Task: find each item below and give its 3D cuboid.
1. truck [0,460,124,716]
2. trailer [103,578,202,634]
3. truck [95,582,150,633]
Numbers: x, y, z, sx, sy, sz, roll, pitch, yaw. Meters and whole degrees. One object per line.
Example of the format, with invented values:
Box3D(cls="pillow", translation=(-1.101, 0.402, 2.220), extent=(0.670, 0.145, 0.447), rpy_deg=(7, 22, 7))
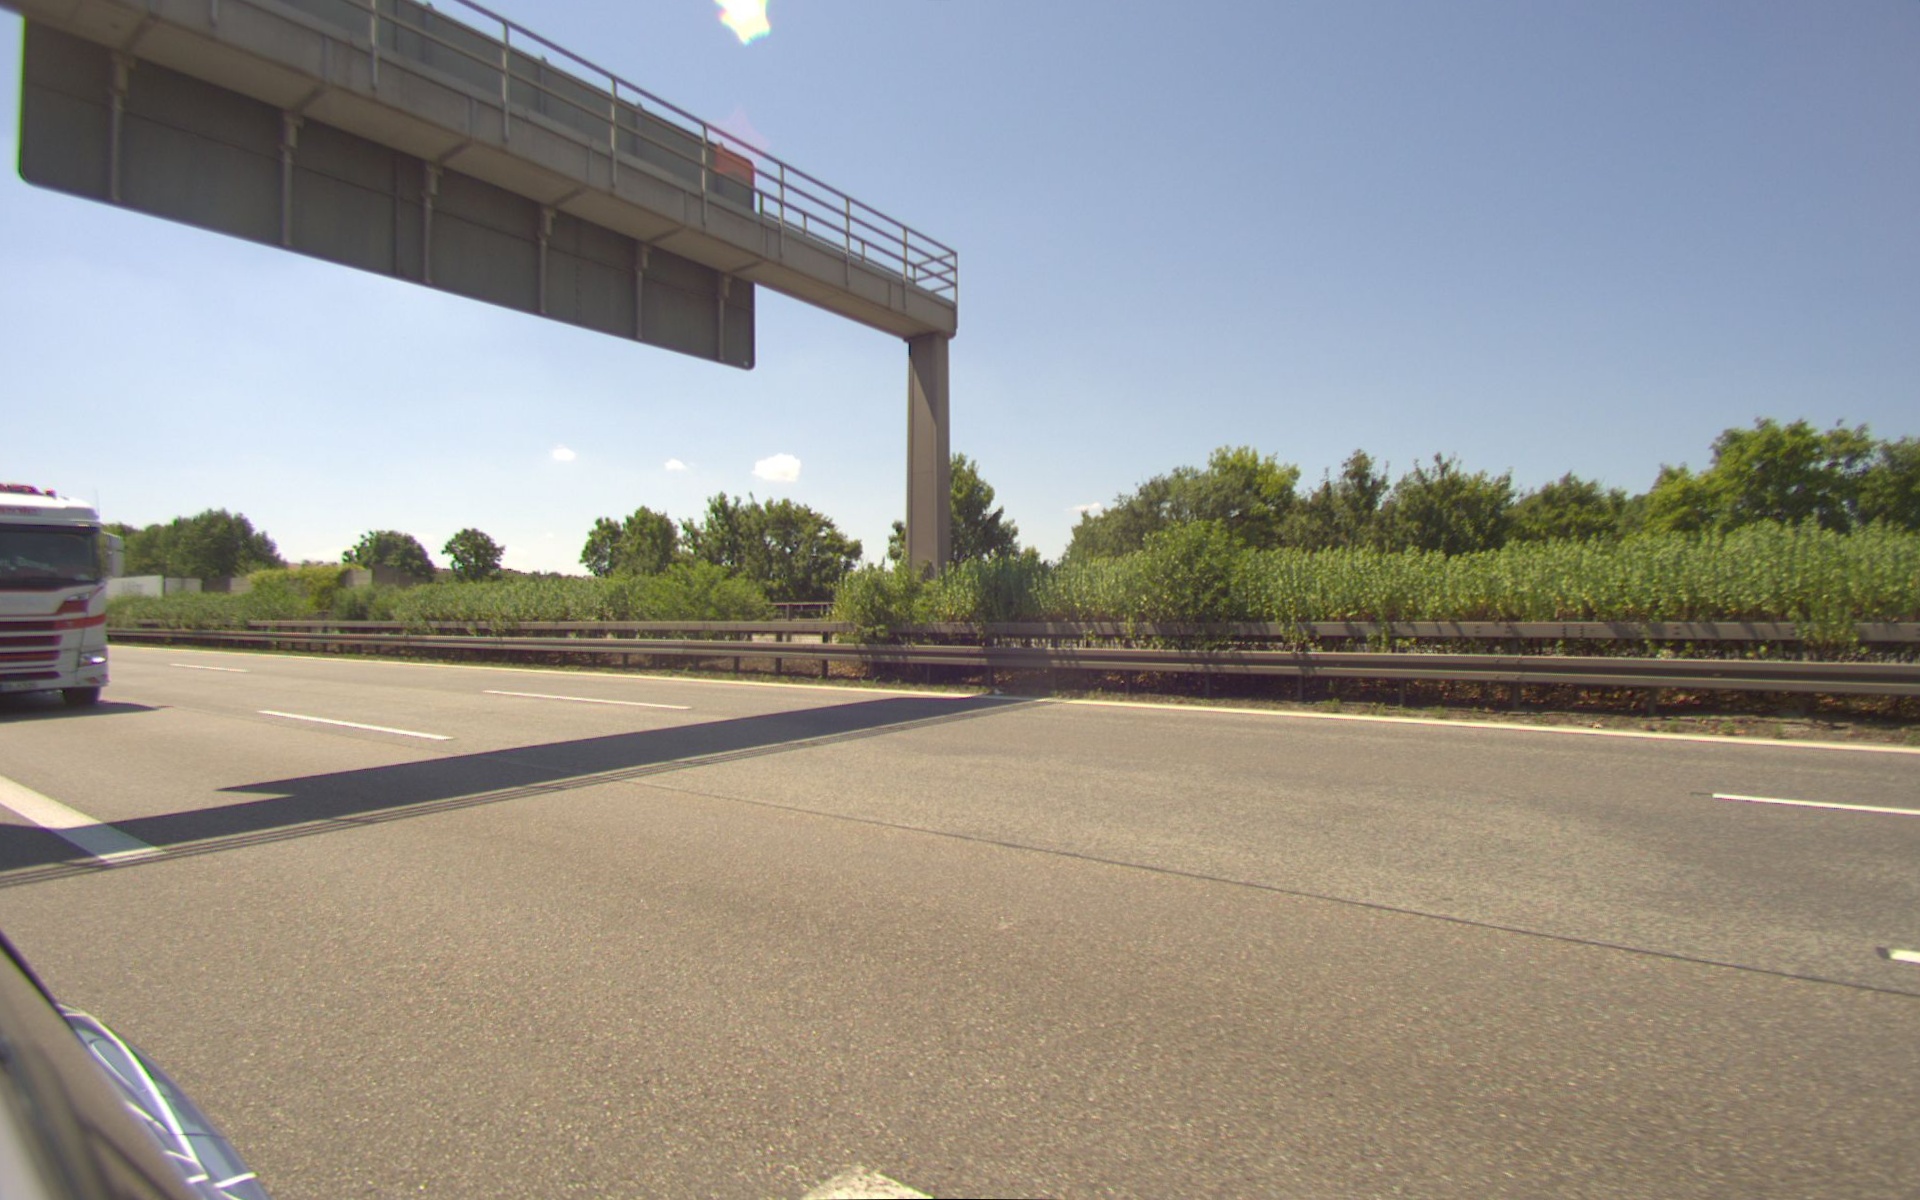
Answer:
Box3D(cls="truck", translation=(-18.453, -0.110, 18.546), extent=(10.658, 3.831, 2.688), rpy_deg=(-1, 0, 39))
Box3D(cls="trailer", translation=(-64.888, 0.549, 81.126), extent=(14.199, 4.165, 2.582), rpy_deg=(-1, -1, 36))
Box3D(cls="truck", translation=(-70.763, 0.646, 85.474), extent=(4.740, 4.187, 2.581), rpy_deg=(-1, -1, 37))
